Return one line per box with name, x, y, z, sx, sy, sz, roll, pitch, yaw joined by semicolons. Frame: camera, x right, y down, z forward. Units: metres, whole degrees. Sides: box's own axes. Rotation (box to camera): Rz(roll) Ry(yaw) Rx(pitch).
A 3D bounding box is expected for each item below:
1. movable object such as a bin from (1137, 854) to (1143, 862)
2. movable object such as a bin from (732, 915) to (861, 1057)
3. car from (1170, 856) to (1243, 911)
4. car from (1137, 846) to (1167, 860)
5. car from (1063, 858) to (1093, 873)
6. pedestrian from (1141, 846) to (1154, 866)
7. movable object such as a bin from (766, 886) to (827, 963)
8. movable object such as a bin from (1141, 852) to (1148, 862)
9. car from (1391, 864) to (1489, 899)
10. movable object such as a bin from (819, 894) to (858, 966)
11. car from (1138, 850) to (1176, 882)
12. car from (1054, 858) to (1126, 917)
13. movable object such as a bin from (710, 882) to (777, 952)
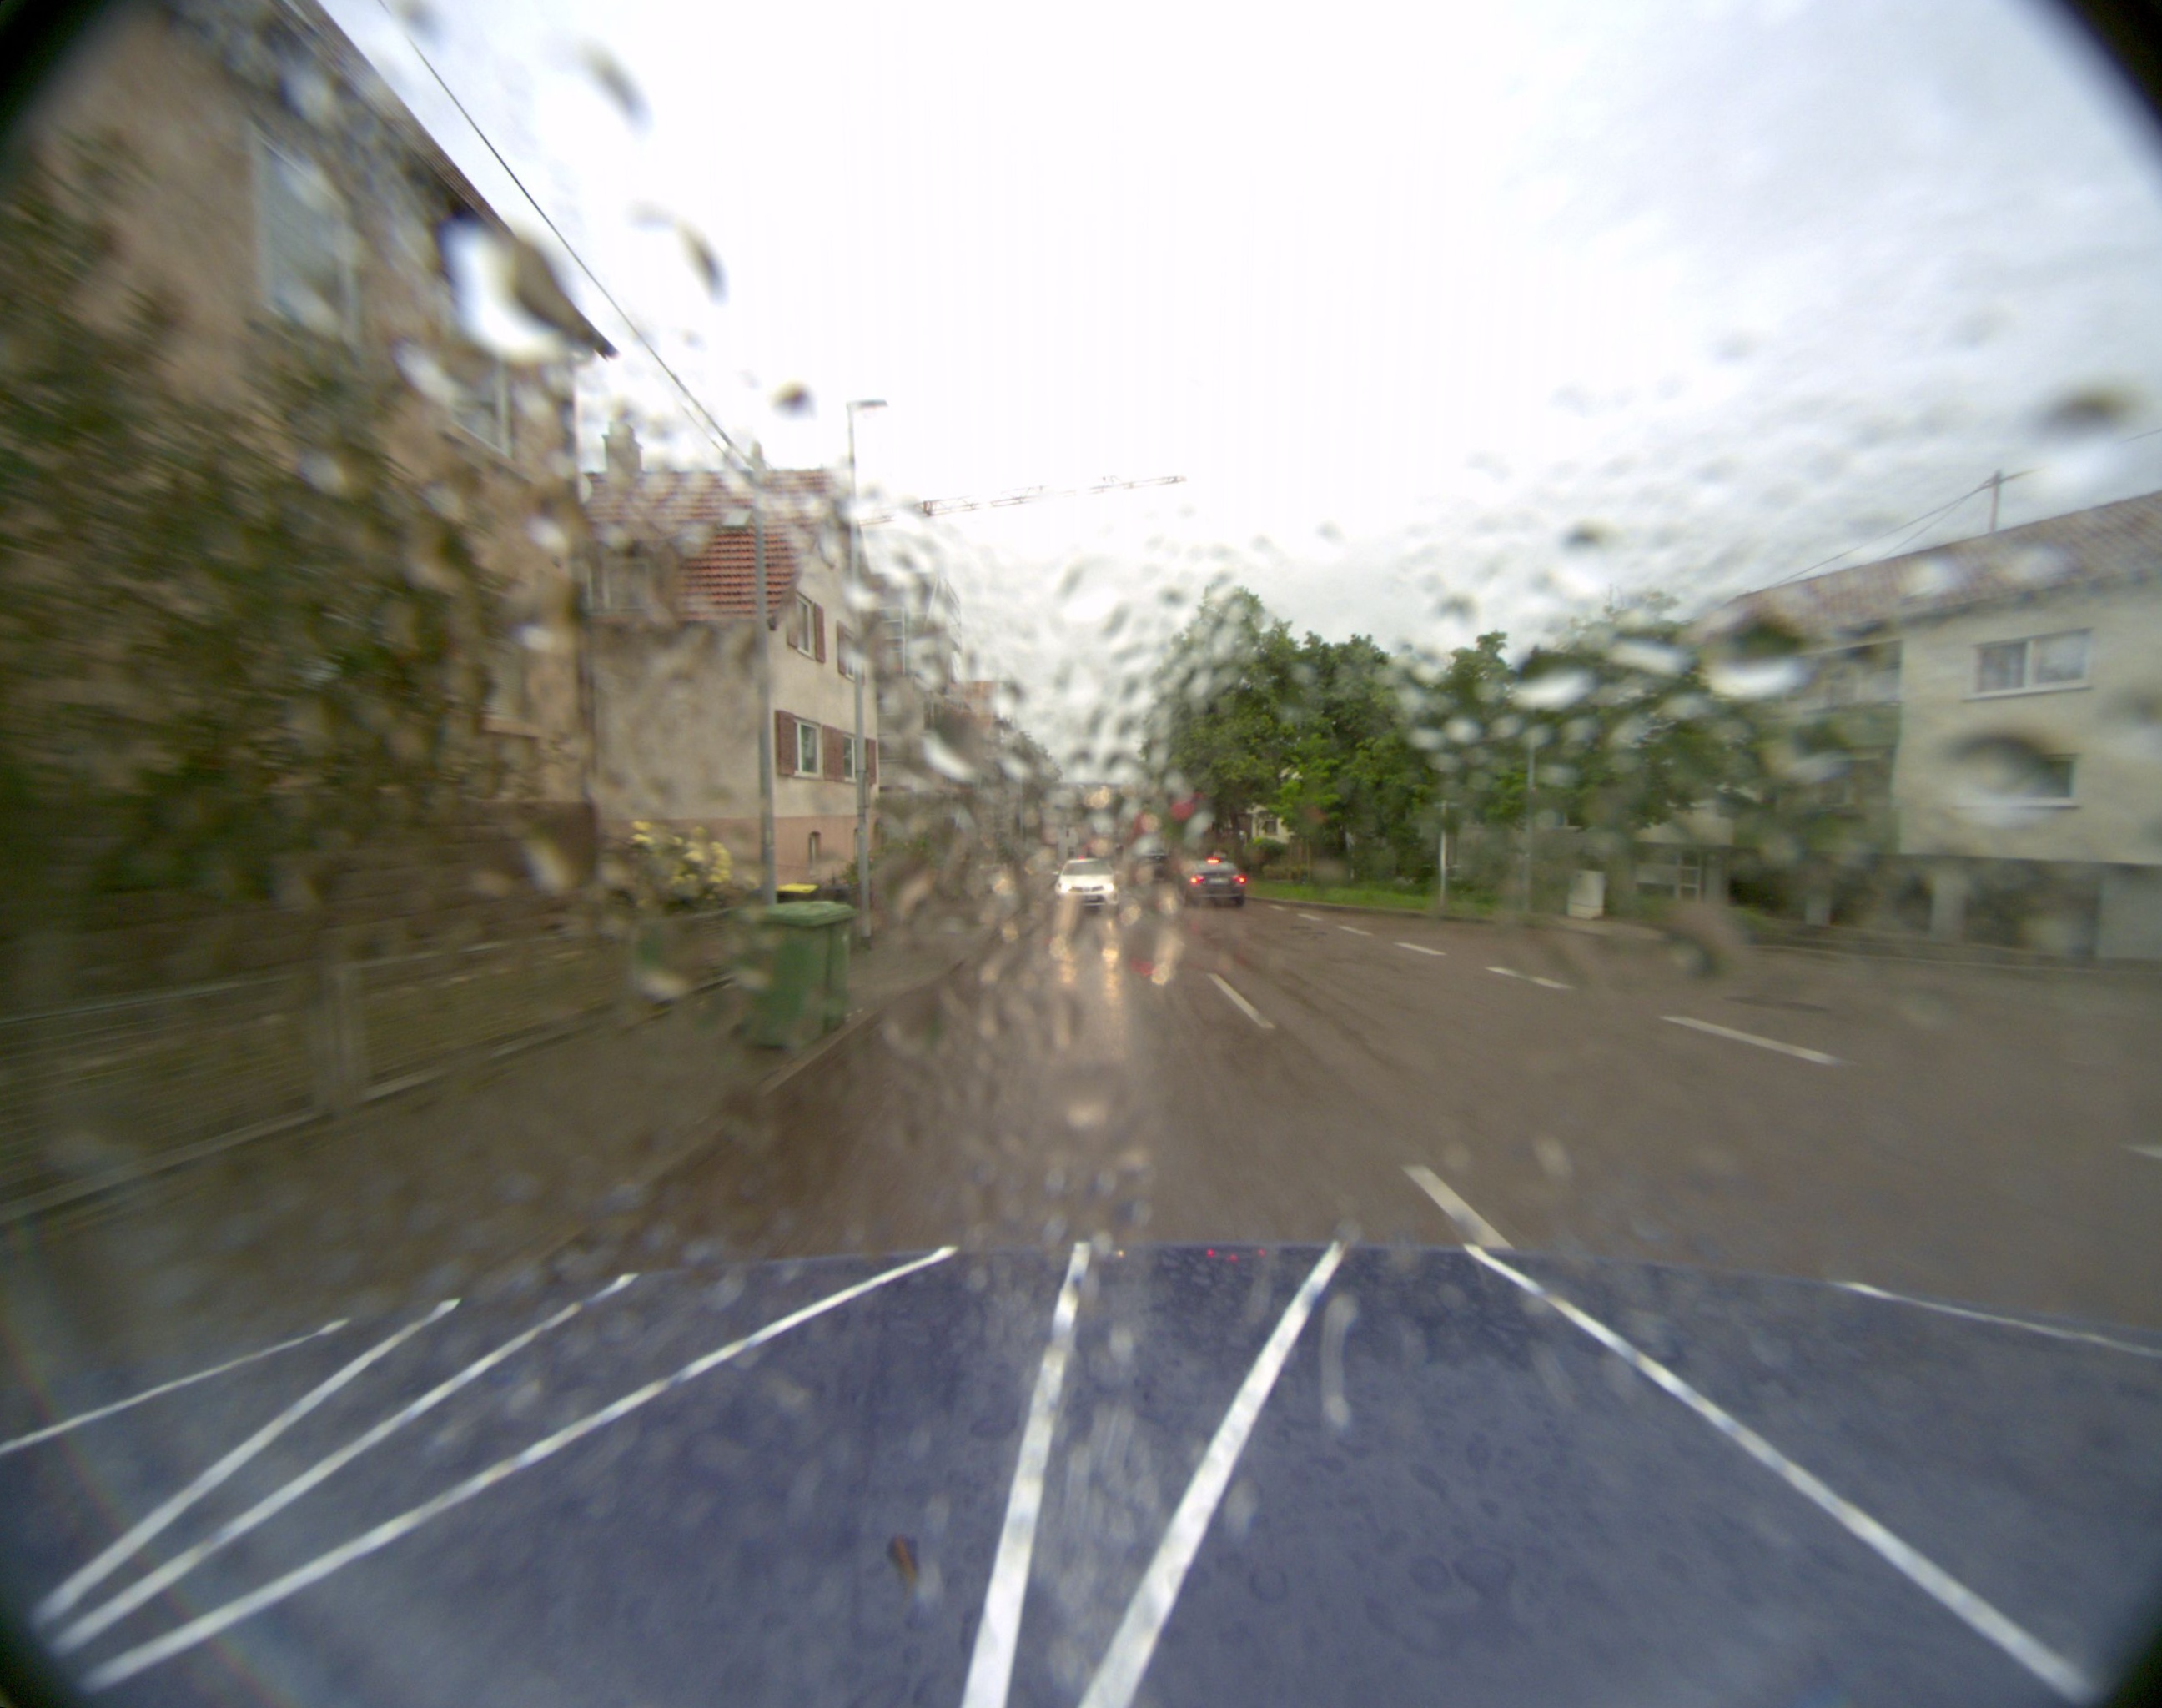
movable object such as a bin;6.869;0.432;88.164;0.518;0.935;0.500;-2;1;-25
movable object such as a bin;-2.354;1.072;6.373;0.721;1.046;0.800;-1;1;4
car;3.696;0.825;22.986;1.564;1.446;4.084;-1;0;1
car;8.488;-0.107;91.249;1.729;1.524;3.991;-2;0;-26
car;-0.313;1.140;75.170;1.772;1.432;4.057;-2;0;-18
pedestrian;6.255;0.170;71.773;0.971;1.820;0.894;-2;1;-8
movable object such as a bin;-4.273;1.041;11.461;0.611;1.070;0.792;2;1;-1
movable object such as a bin;7.409;0.326;88.349;0.546;1.117;0.516;-2;1;-25
car;15.187;1.133;32.337;2.001;1.321;3.443;-2;0;-14
movable object such as a bin;-3.582;1.115;11.250;0.380;1.012;0.487;-1;1;1
car;4.334;0.650;43.771;1.755;1.679;4.375;-2;0;0
car;0.191;0.895;22.246;1.859;1.427;4.016;-2;1;-1
movable object such as a bin;-5.180;0.949;11.696;0.611;0.961;0.792;5;0;-1
